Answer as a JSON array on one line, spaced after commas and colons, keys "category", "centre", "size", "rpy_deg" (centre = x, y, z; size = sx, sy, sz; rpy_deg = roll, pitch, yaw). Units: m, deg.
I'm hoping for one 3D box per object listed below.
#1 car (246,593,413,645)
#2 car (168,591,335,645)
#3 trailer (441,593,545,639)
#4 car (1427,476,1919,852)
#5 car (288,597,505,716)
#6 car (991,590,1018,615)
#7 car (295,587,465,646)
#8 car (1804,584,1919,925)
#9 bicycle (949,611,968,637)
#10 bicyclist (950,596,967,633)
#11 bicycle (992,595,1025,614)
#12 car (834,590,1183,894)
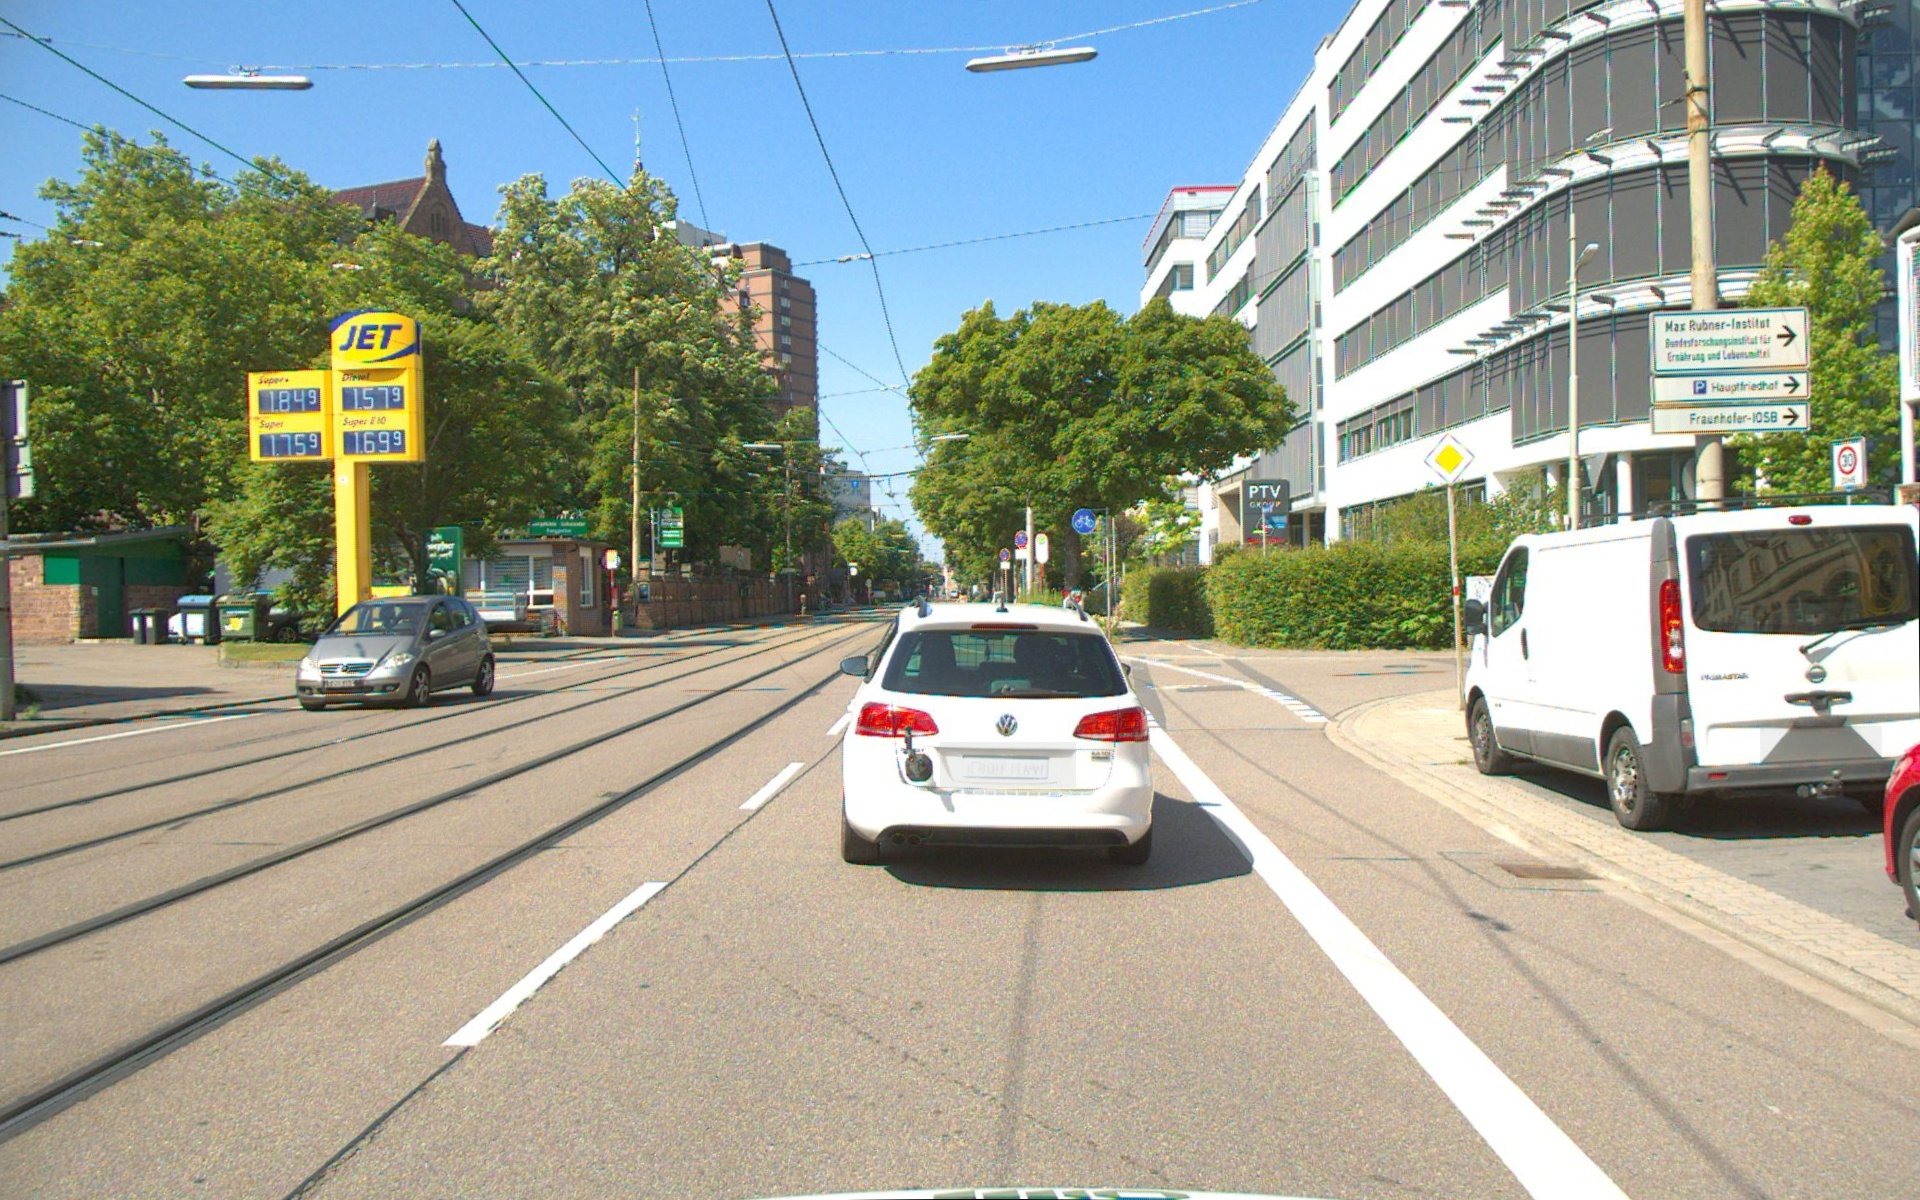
[{"category": "car", "centre": [-19.764, 0.575, 51.956], "size": [1.916, 1.493, 4.547], "rpy_deg": [-1, 0, 44]}, {"category": "car", "centre": [-22.630, 0.544, 52.954], "size": [1.917, 1.611, 4.546], "rpy_deg": [-1, 0, 45]}, {"category": "trailer", "centre": [-16.549, 0.557, 58.682], "size": [3.149, 1.552, 1.778], "rpy_deg": [-1, 0, 1]}, {"category": "car", "centre": [5.155, 0.345, 12.126], "size": [1.936, 2.090, 5.191], "rpy_deg": [-3, 0, 0]}, {"category": "car", "centre": [-8.402, 0.798, 25.014], "size": [1.709, 1.598, 3.893], "rpy_deg": [-2, 0, 3]}, {"category": "car", "centre": [2.731, 0.142, 102.495], "size": [1.558, 1.476, 3.946], "rpy_deg": [-2, 0, 1]}, {"category": "car", "centre": [-17.671, 0.483, 50.570], "size": [1.916, 1.653, 4.547], "rpy_deg": [-1, 0, 44]}, {"category": "car", "centre": [5.001, 0.650, 5.975], "size": [1.686, 1.468, 4.313], "rpy_deg": [-3, 0, 1]}, {"category": "bicycle", "centre": [-0.056, 1.074, 74.232], "size": [0.794, 1.097, 2.012], "rpy_deg": [-1, 0, 1]}, {"category": "bicyclist", "centre": [-0.066, 0.641, 74.304], "size": [0.769, 1.657, 0.738], "rpy_deg": [-1, 0, 0]}, {"category": "bicycle", "centre": [2.821, 0.259, 96.524], "size": [1.873, 1.102, 0.550], "rpy_deg": [0, 0, -3]}, {"category": "car", "centre": [0.257, 0.689, 10.415], "size": [1.718, 1.467, 4.413], "rpy_deg": [1, 1, 0]}]
